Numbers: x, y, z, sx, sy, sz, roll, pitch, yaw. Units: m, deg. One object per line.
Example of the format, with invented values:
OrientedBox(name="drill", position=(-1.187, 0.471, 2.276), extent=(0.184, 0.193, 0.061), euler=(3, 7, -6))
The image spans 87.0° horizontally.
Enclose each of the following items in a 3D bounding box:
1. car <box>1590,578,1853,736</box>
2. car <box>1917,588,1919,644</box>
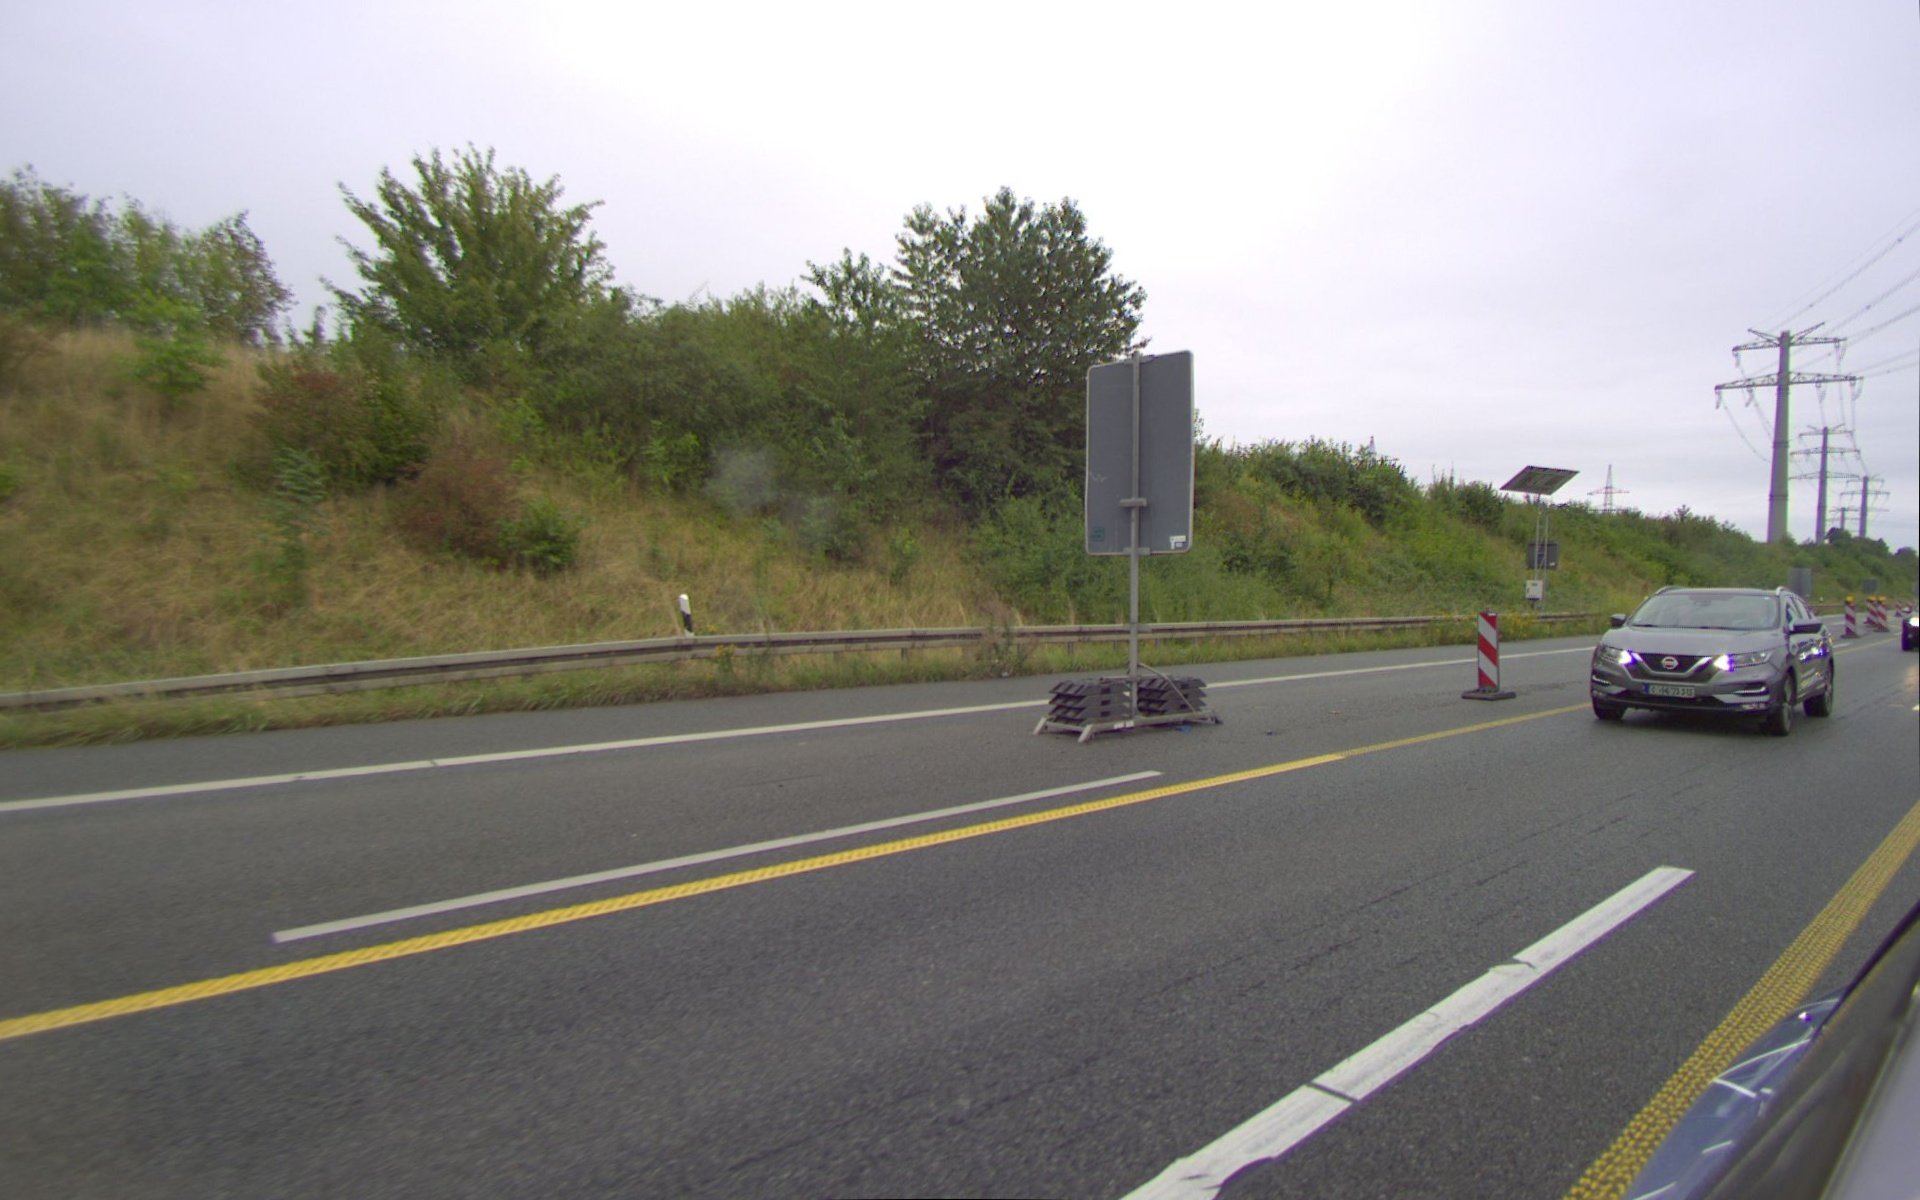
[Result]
OrientedBox(name="car", position=(9.149, 0.533, 12.039), extent=(4.079, 1.551, 1.802), euler=(0, 1, -43))
OrientedBox(name="car", position=(27.433, 0.430, 27.497), extent=(4.079, 1.458, 1.802), euler=(0, 1, -43))
